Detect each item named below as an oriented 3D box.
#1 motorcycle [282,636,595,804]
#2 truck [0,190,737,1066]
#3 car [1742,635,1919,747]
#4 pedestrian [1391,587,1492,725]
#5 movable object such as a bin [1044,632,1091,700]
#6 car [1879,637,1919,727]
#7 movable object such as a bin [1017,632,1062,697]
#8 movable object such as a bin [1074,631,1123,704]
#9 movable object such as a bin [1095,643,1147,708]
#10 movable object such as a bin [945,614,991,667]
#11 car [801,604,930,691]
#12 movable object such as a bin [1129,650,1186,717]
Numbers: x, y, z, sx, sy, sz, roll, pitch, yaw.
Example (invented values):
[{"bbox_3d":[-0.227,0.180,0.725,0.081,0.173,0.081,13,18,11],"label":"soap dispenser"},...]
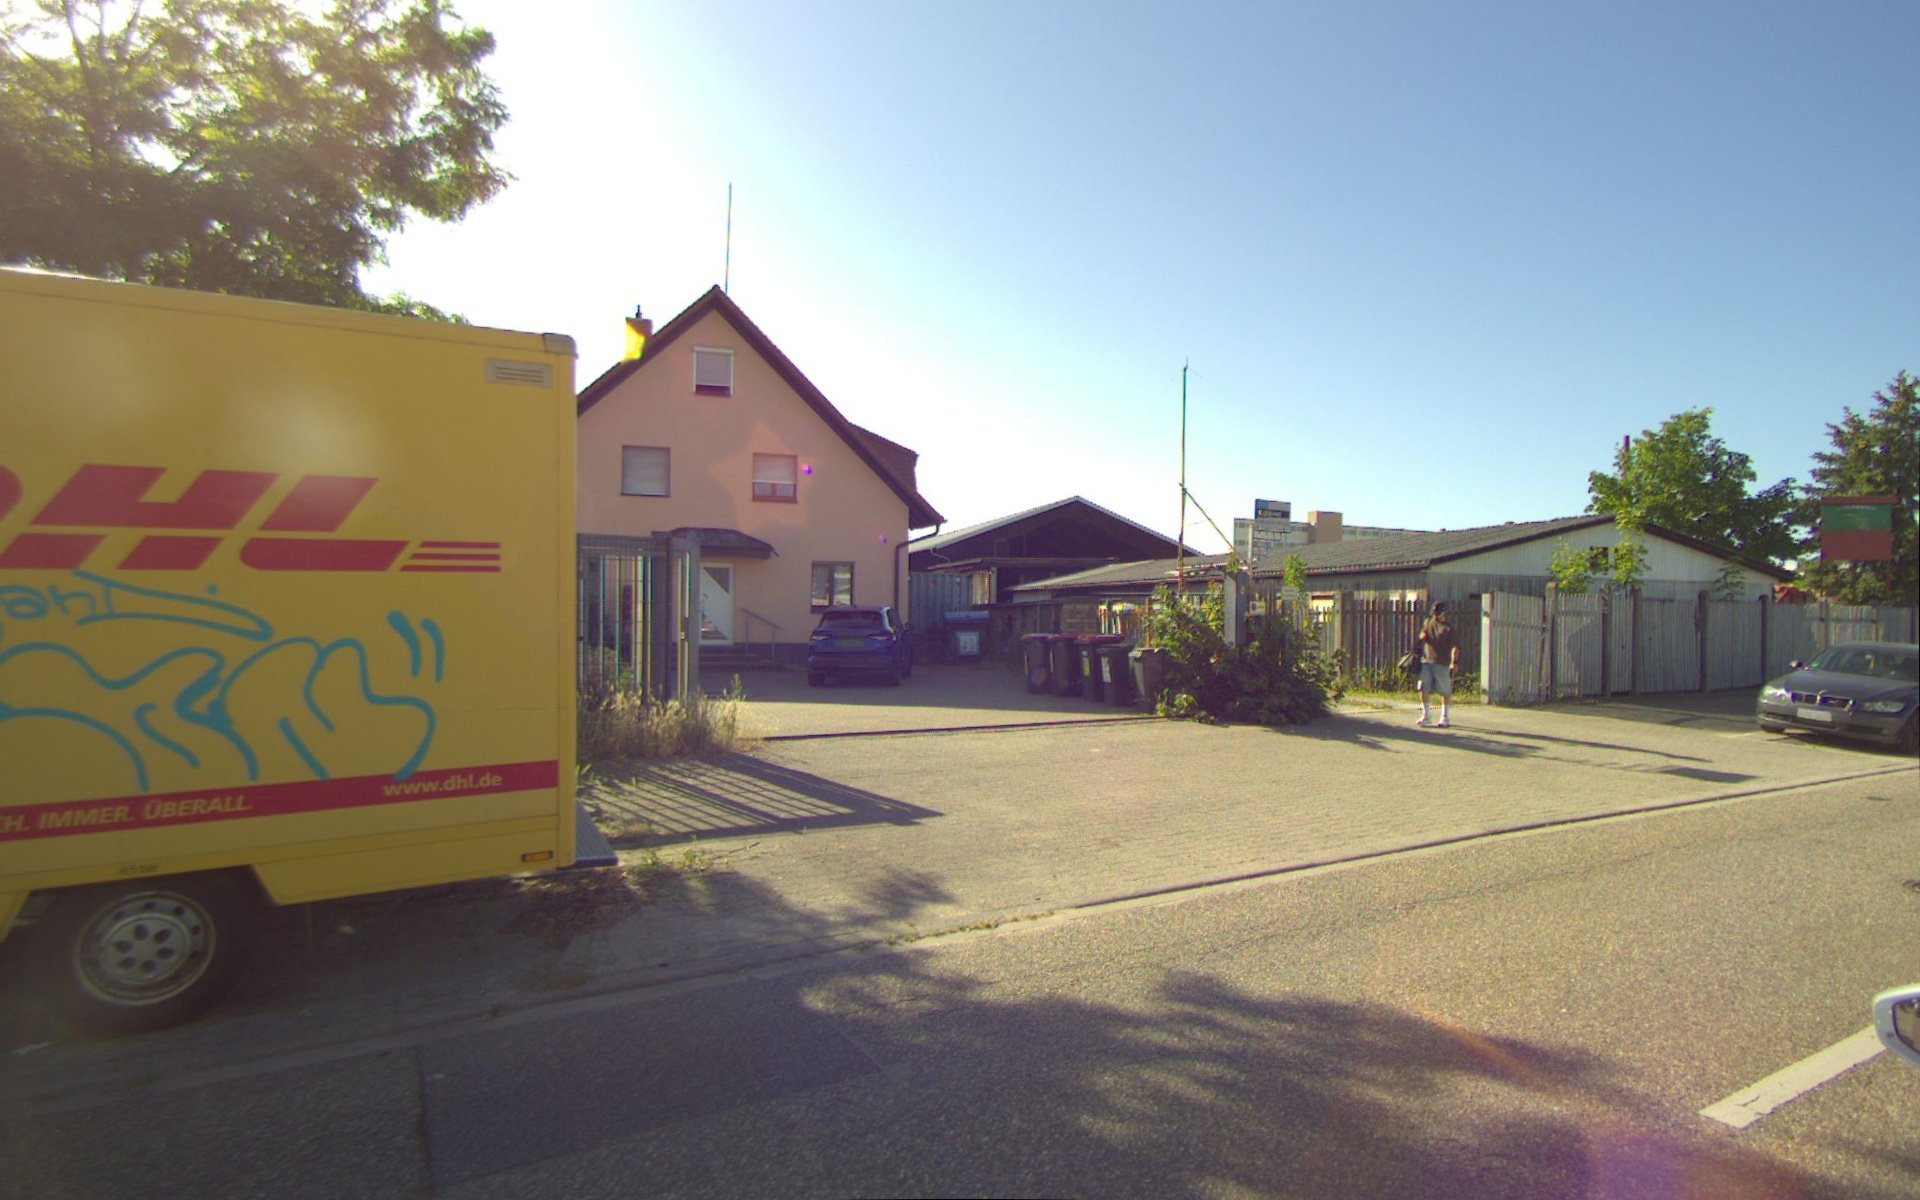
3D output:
[{"bbox_3d":[-4.153,0.901,8.141,2.150,1.197,0.751,1,-1,-30],"label":"motorcycle"},{"bbox_3d":[-4.335,0.064,3.987,6.361,2.941,2.182,1,1,-30],"label":"truck"},{"bbox_3d":[13.815,1.256,15.068,4.503,1.422,1.748,1,-1,-30],"label":"car"},{"bbox_3d":[6.794,0.761,14.180,0.913,1.862,0.989,1,-1,-39],"label":"pedestrian"},{"bbox_3d":[1.846,1.124,17.294,0.630,1.123,0.554,1,0,-19],"label":"movable object such as a bin"},{"bbox_3d":[18.015,1.417,17.523,4.122,1.488,1.687,1,-1,-29],"label":"car"},{"bbox_3d":[1.421,1.141,18.020,0.630,1.123,0.554,1,0,-19],"label":"movable object such as a bin"},{"bbox_3d":[2.246,1.087,16.310,0.630,1.152,0.498,1,0,-19],"label":"movable object such as a bin"},{"bbox_3d":[2.503,1.162,15.637,0.630,0.967,0.498,1,0,-19],"label":"movable object such as a bin"},{"bbox_3d":[0.219,1.068,26.872,1.152,1.389,0.429,1,0,-9],"label":"movable object such as a bin"},{"bbox_3d":[-1.862,0.921,21.103,1.960,1.638,4.002,-1,0,6],"label":"car"},{"bbox_3d":[2.854,1.197,14.533,0.630,0.935,0.498,1,0,-19],"label":"movable object such as a bin"}]
